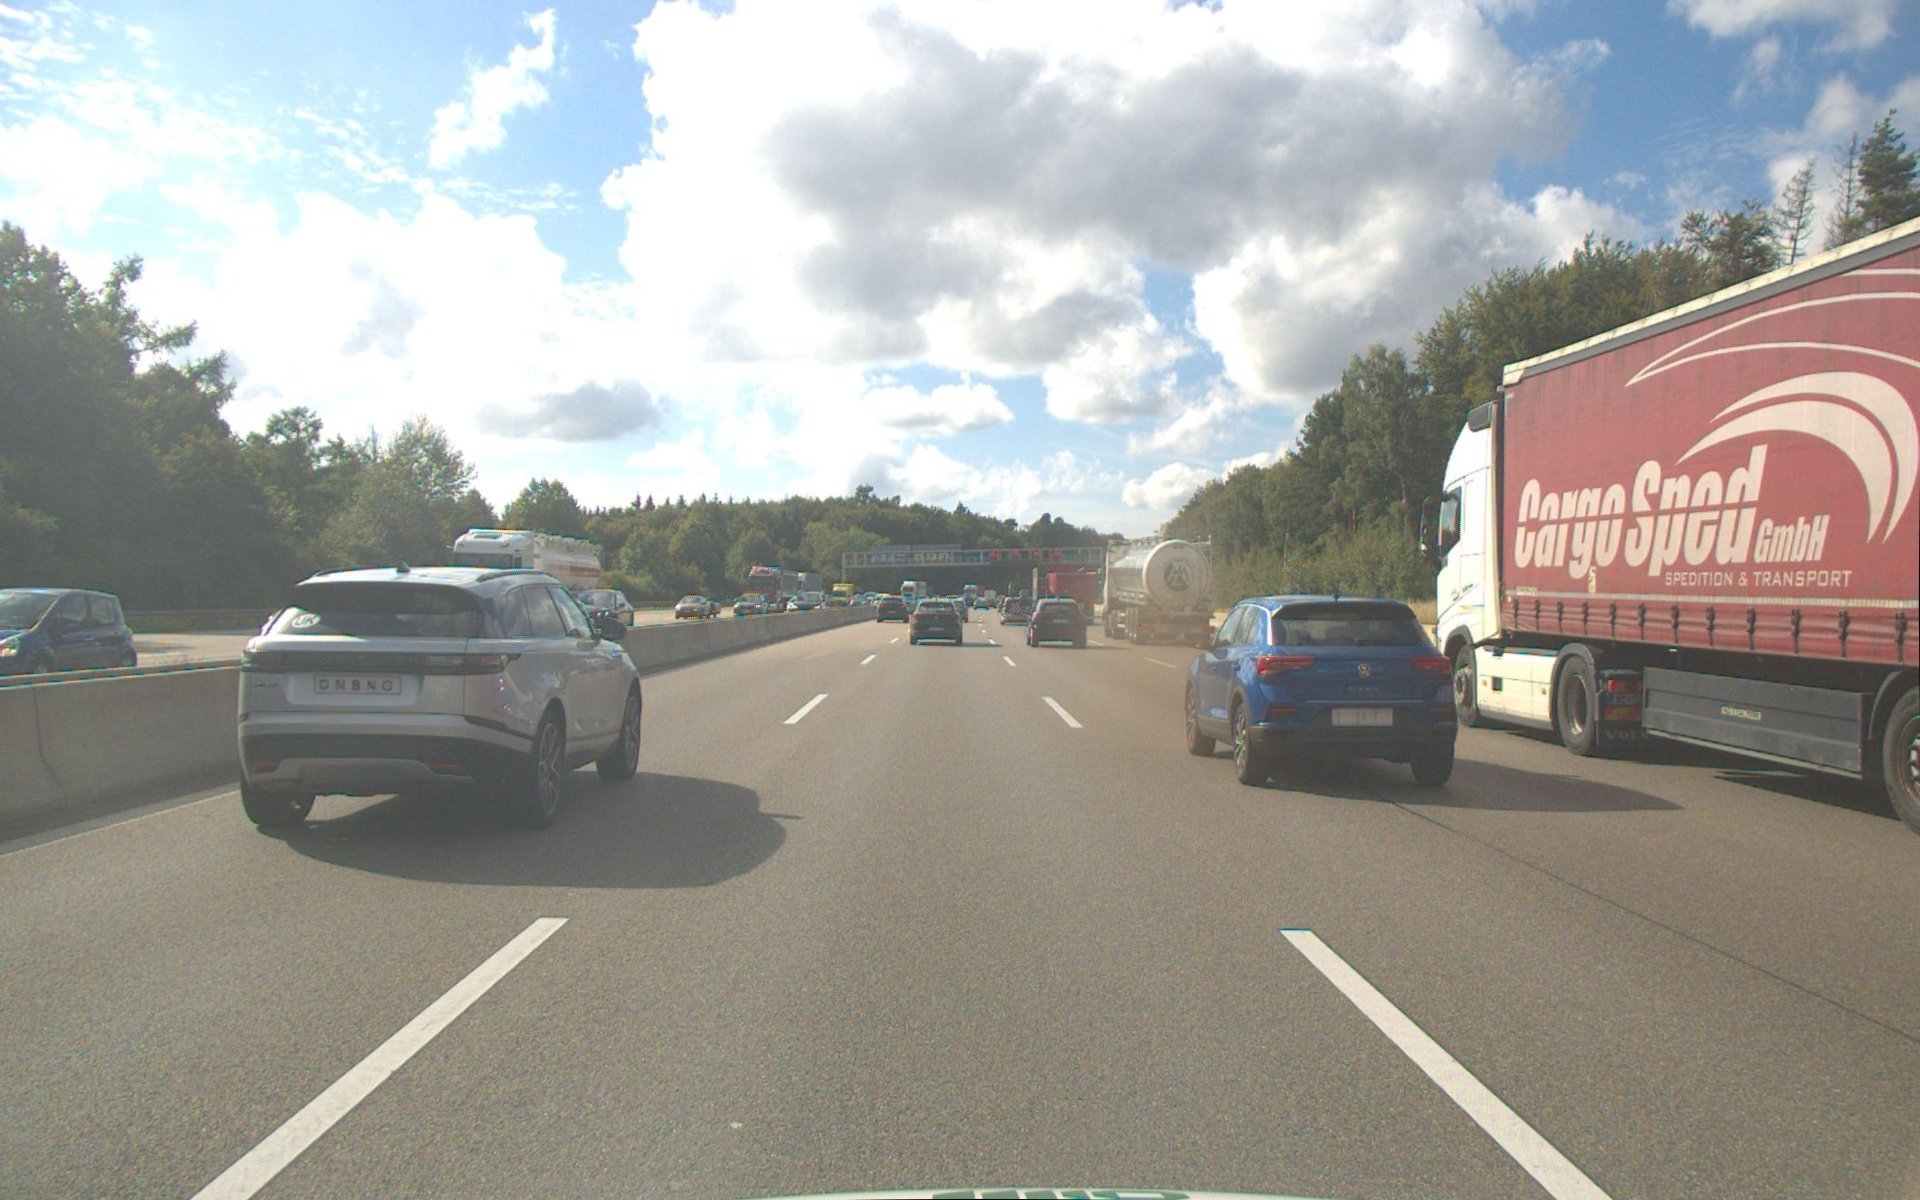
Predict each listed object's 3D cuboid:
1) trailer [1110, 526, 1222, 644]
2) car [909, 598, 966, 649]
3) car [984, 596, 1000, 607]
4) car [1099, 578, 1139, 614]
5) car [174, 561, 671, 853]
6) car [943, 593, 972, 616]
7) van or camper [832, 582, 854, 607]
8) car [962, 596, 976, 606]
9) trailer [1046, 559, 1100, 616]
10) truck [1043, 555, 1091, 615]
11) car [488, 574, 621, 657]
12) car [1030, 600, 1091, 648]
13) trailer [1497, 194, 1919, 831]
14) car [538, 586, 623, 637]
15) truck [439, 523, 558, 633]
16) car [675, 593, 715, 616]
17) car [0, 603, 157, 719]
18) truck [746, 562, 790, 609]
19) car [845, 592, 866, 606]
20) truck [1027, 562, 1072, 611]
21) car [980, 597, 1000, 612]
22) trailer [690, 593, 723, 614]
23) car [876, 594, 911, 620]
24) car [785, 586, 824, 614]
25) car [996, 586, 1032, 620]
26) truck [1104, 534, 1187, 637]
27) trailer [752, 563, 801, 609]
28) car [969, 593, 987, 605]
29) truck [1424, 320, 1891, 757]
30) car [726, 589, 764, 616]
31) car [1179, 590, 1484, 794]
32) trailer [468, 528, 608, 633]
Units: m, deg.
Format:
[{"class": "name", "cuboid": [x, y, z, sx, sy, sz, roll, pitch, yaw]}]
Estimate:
[{"class": "trailer", "cuboid": [7.285, -0.519, 60.107, 2.594, 3.833, 11.859, 0, 0, 0]}, {"class": "car", "cuboid": [-0.728, 0.736, 53.957, 1.785, 1.573, 4.000, 0, 0, 0]}, {"class": "car", "cuboid": [4.421, 0.154, 228.391, 2.035, 1.483, 3.999, -1, 0, -2]}, {"class": "car", "cuboid": [9.192, -0.236, 95.716, 1.855, 1.991, 4.100, 1, 0, 0]}, {"class": "car", "cuboid": [-3.533, 0.605, 12.107, 1.965, 1.644, 5.300, 1, 0, -1]}, {"class": "car", "cuboid": [-0.140, 0.273, 105.538, 1.785, 1.483, 4.000, 0, 0, 1]}, {"class": "van or camper", "cuboid": [-14.245, -0.657, 202.265, 2.325, 2.942, 6.505, -1, 0, -1]}, {"class": "car", "cuboid": [1.288, 0.116, 243.540, 1.889, 1.483, 4.393, -1, 0, 2]}, {"class": "trailer", "cuboid": [6.912, -0.818, 102.166, 2.654, 3.287, 9.732, 1, 1, 0]}, {"class": "truck", "cuboid": [6.900, -0.991, 107.060, 2.654, 3.783, 5.817, 1, 1, 0]}, {"class": "car", "cuboid": [-9.969, 0.357, 41.079, 2.127, 1.911, 4.980, 0, 0, -1]}, {"class": "car", "cuboid": [3.194, 0.743, 53.155, 1.784, 1.483, 4.001, 0, 0, 1]}, {"class": "trailer", "cuboid": [7.541, -0.565, 11.856, 2.717, 4.116, 13.710, 0, 0, -1]}, {"class": "car", "cuboid": [-13.225, 0.371, 57.956, 1.817, 1.699, 5.210, -1, 0, -1]}, {"class": "truck", "cuboid": [-17.599, -0.815, 63.502, 2.730, 4.014, 6.445, 0, 0, 0]}, {"class": "car", "cuboid": [-17.165, 0.253, 107.294, 1.789, 1.439, 4.675, 0, 0, 1]}, {"class": "car", "cuboid": [-13.545, 0.835, 24.314, 1.596, 1.538, 3.999, 0, 0, -1]}, {"class": "truck", "cuboid": [-16.544, -1.258, 142.820, 2.906, 3.925, 6.766, 0, 0, 1]}, {"class": "car", "cuboid": [-12.008, -0.123, 190.510, 1.805, 1.624, 4.915, -1, 0, 2]}, {"class": "truck", "cuboid": [7.519, -1.142, 140.461, 3.055, 4.003, 10.409, 0, 0, -1]}, {"class": "car", "cuboid": [3.098, 0.444, 170.949, 1.903, 1.483, 3.999, -1, 0, -2]}, {"class": "trailer", "cuboid": [-17.123, 0.235, 111.719, 1.503, 1.427, 4.180, 0, 0, 1]}, {"class": "car", "cuboid": [-4.010, 0.397, 100.243, 1.902, 1.483, 4.000, -1, 0, 0]}, {"class": "car", "cuboid": [-10.058, 0.001, 107.508, 2.111, 1.729, 5.349, 0, 0, -1]}, {"class": "car", "cuboid": [3.089, 0.142, 95.490, 1.855, 1.889, 4.099, 1, 0, -1]}, {"class": "truck", "cuboid": [7.287, -0.571, 65.610, 2.594, 3.890, 6.081, 0, 0, 0]}, {"class": "trailer", "cuboid": [-16.387, -1.216, 148.782, 2.906, 3.925, 11.283, 0, 0, 1]}, {"class": "car", "cuboid": [2.229, -0.129, 205.845, 2.035, 1.483, 3.999, -1, 0, -2]}, {"class": "truck", "cuboid": [7.426, -0.591, 18.556, 2.717, 4.116, 5.772, 0, 0, -1]}, {"class": "car", "cuboid": [-13.974, 0.140, 107.759, 1.953, 1.693, 4.686, 0, 0, -1]}, {"class": "car", "cuboid": [3.158, 0.700, 14.975, 1.737, 1.557, 4.457, 0, 0, 0]}, {"class": "trailer", "cuboid": [-17.569, -0.778, 69.906, 2.730, 4.014, 12.253, 0, 0, 0]}]
